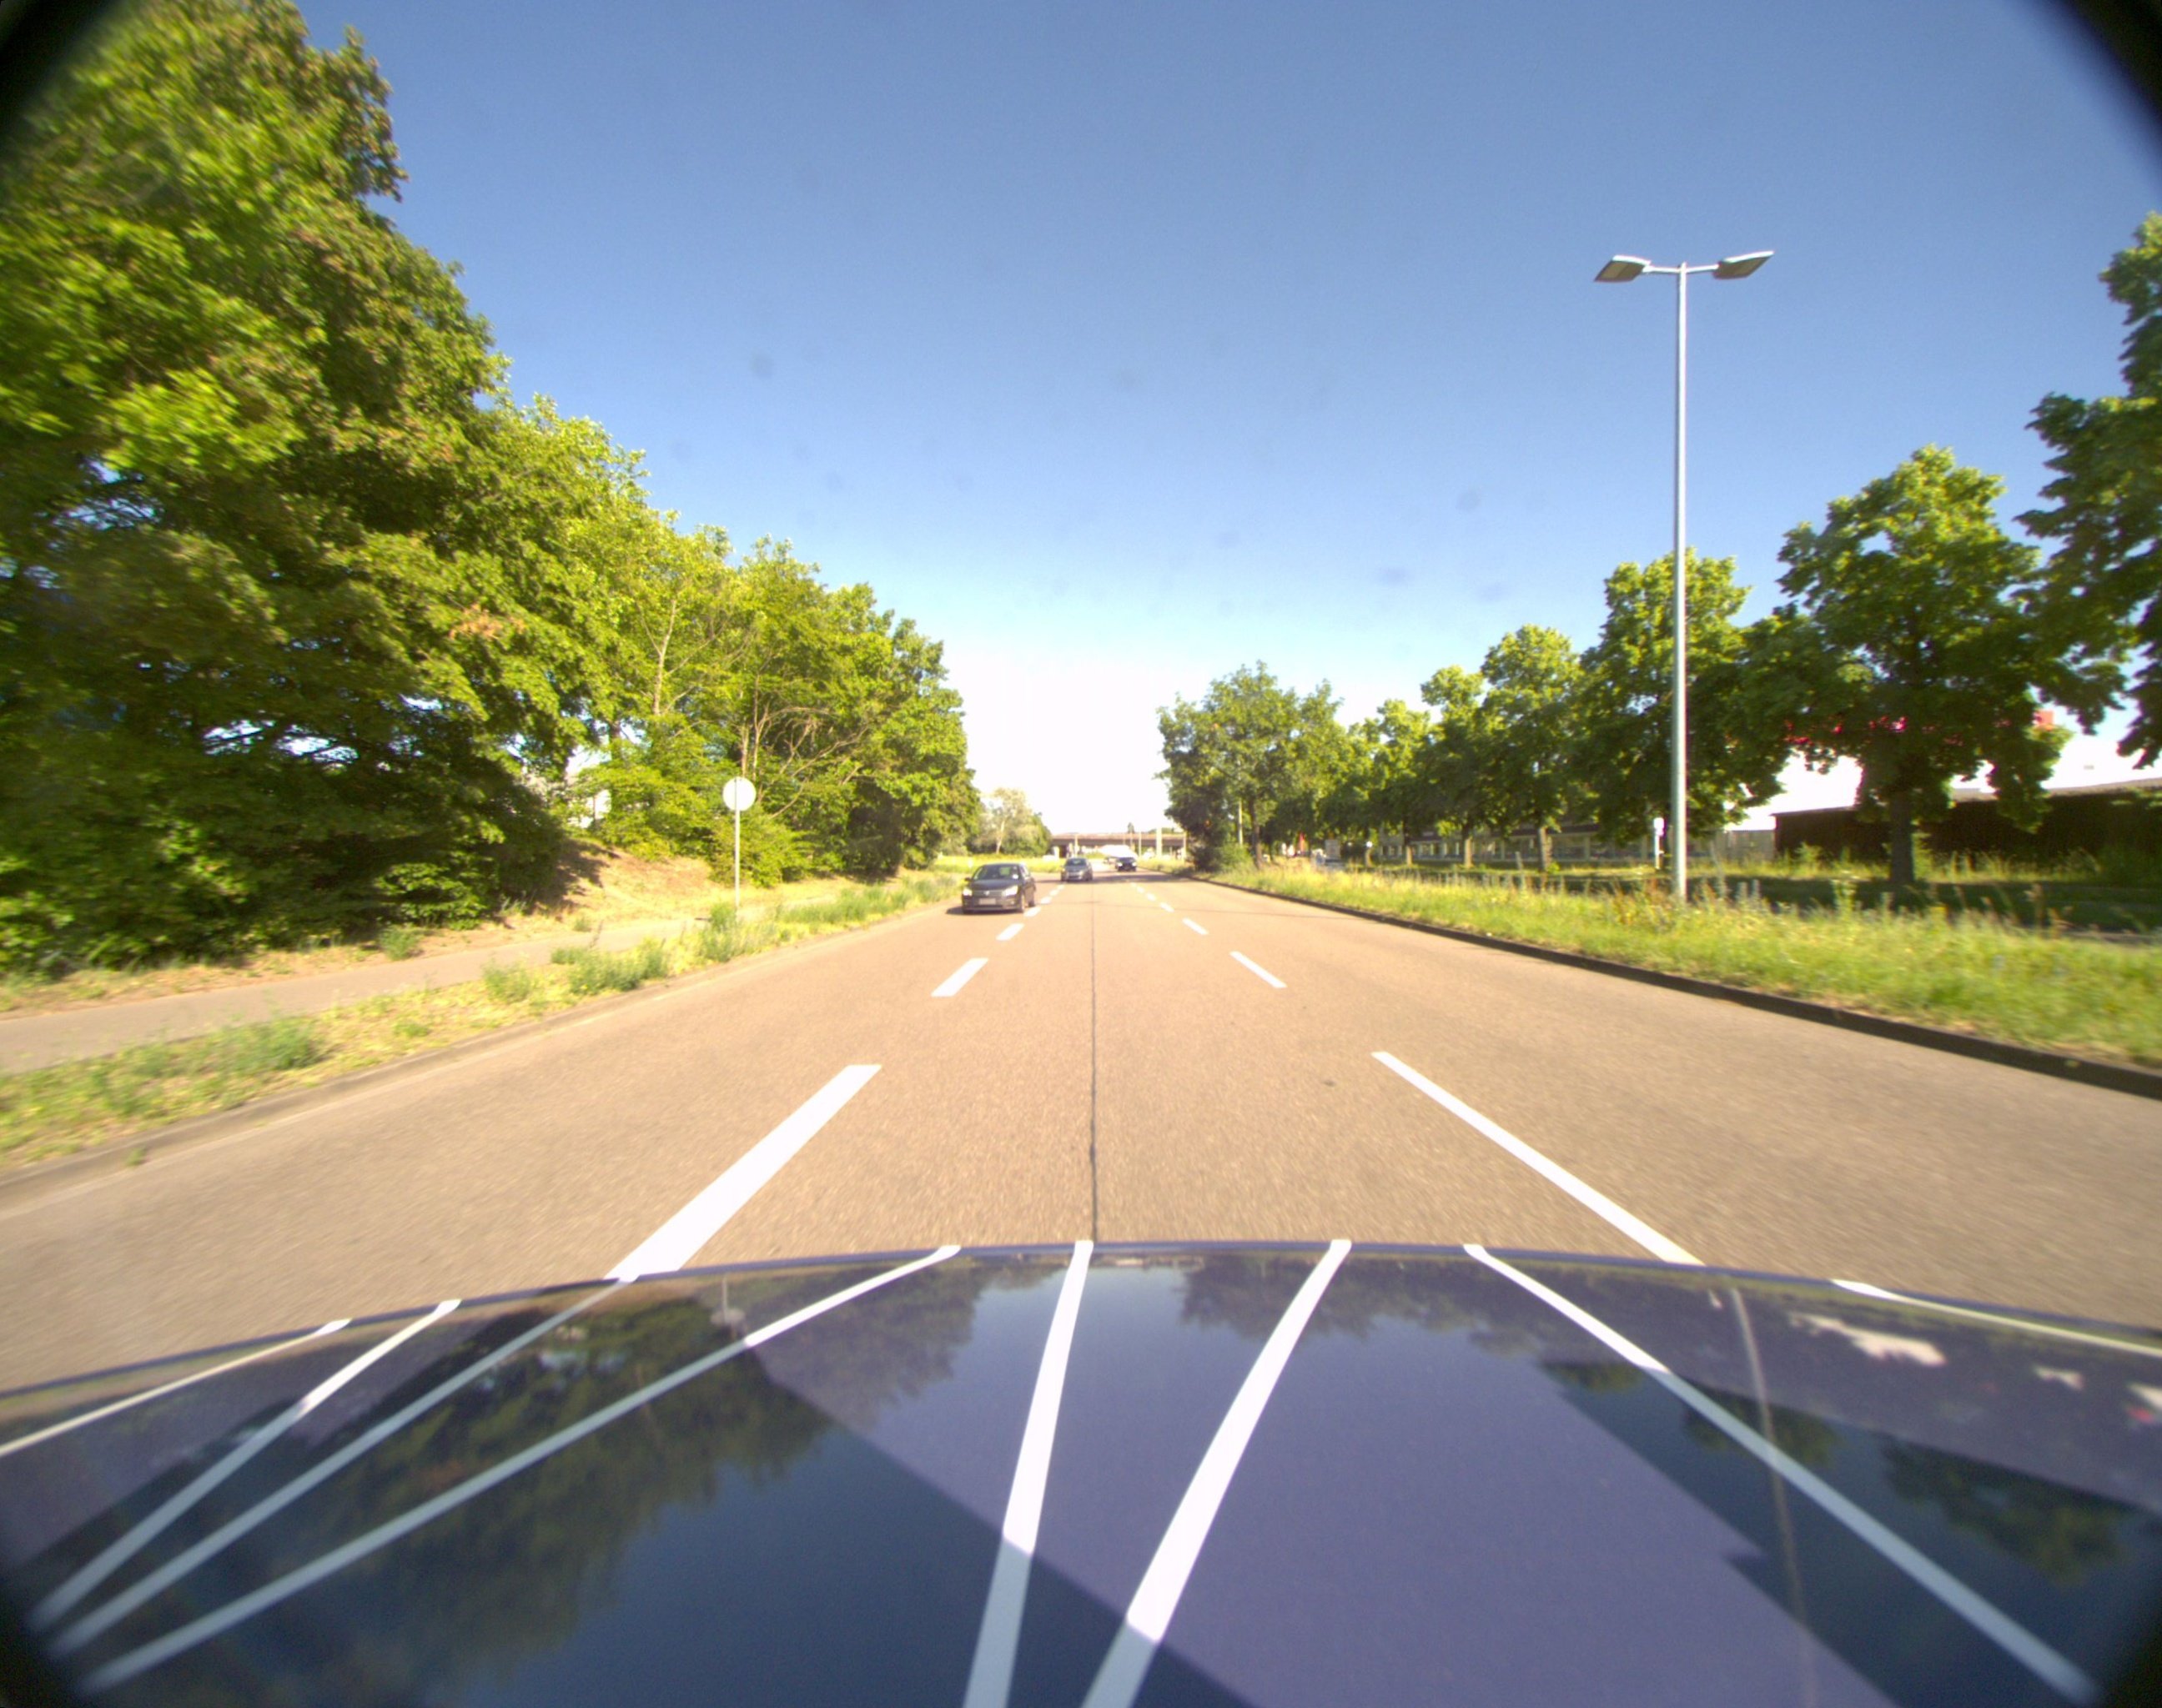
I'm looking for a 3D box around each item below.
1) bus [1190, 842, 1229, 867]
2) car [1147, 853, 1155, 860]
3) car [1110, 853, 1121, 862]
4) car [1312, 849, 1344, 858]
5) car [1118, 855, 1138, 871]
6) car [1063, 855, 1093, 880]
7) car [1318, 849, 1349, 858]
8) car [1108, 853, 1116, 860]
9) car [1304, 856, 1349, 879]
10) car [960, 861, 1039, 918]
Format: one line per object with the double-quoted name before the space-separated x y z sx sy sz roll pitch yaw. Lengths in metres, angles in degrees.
"bus" 15.020 0.093 89.625 2.728 2.705 11.088 2 0 1
"car" 18.675 0.641 202.865 1.947 1.687 4.630 2 0 1
"car" 6.289 0.628 138.348 1.827 1.528 4.042 -1 0 1
"car" 39.888 -0.122 122.683 4.631 1.380 1.947 0 0 1
"car" 4.654 0.849 75.952 1.827 1.528 4.042 0 0 1
"car" -0.183 0.815 48.742 1.827 1.528 4.042 0 0 1
"car" 39.825 -0.077 119.899 4.129 1.380 1.946 0 0 -2
"car" 6.628 0.487 163.400 1.627 1.428 3.279 0 0 5
"car" 17.251 0.950 53.534 1.760 1.511 4.530 2 0 1
"car" -2.318 0.980 22.557 1.706 1.446 3.960 -2 0 3
